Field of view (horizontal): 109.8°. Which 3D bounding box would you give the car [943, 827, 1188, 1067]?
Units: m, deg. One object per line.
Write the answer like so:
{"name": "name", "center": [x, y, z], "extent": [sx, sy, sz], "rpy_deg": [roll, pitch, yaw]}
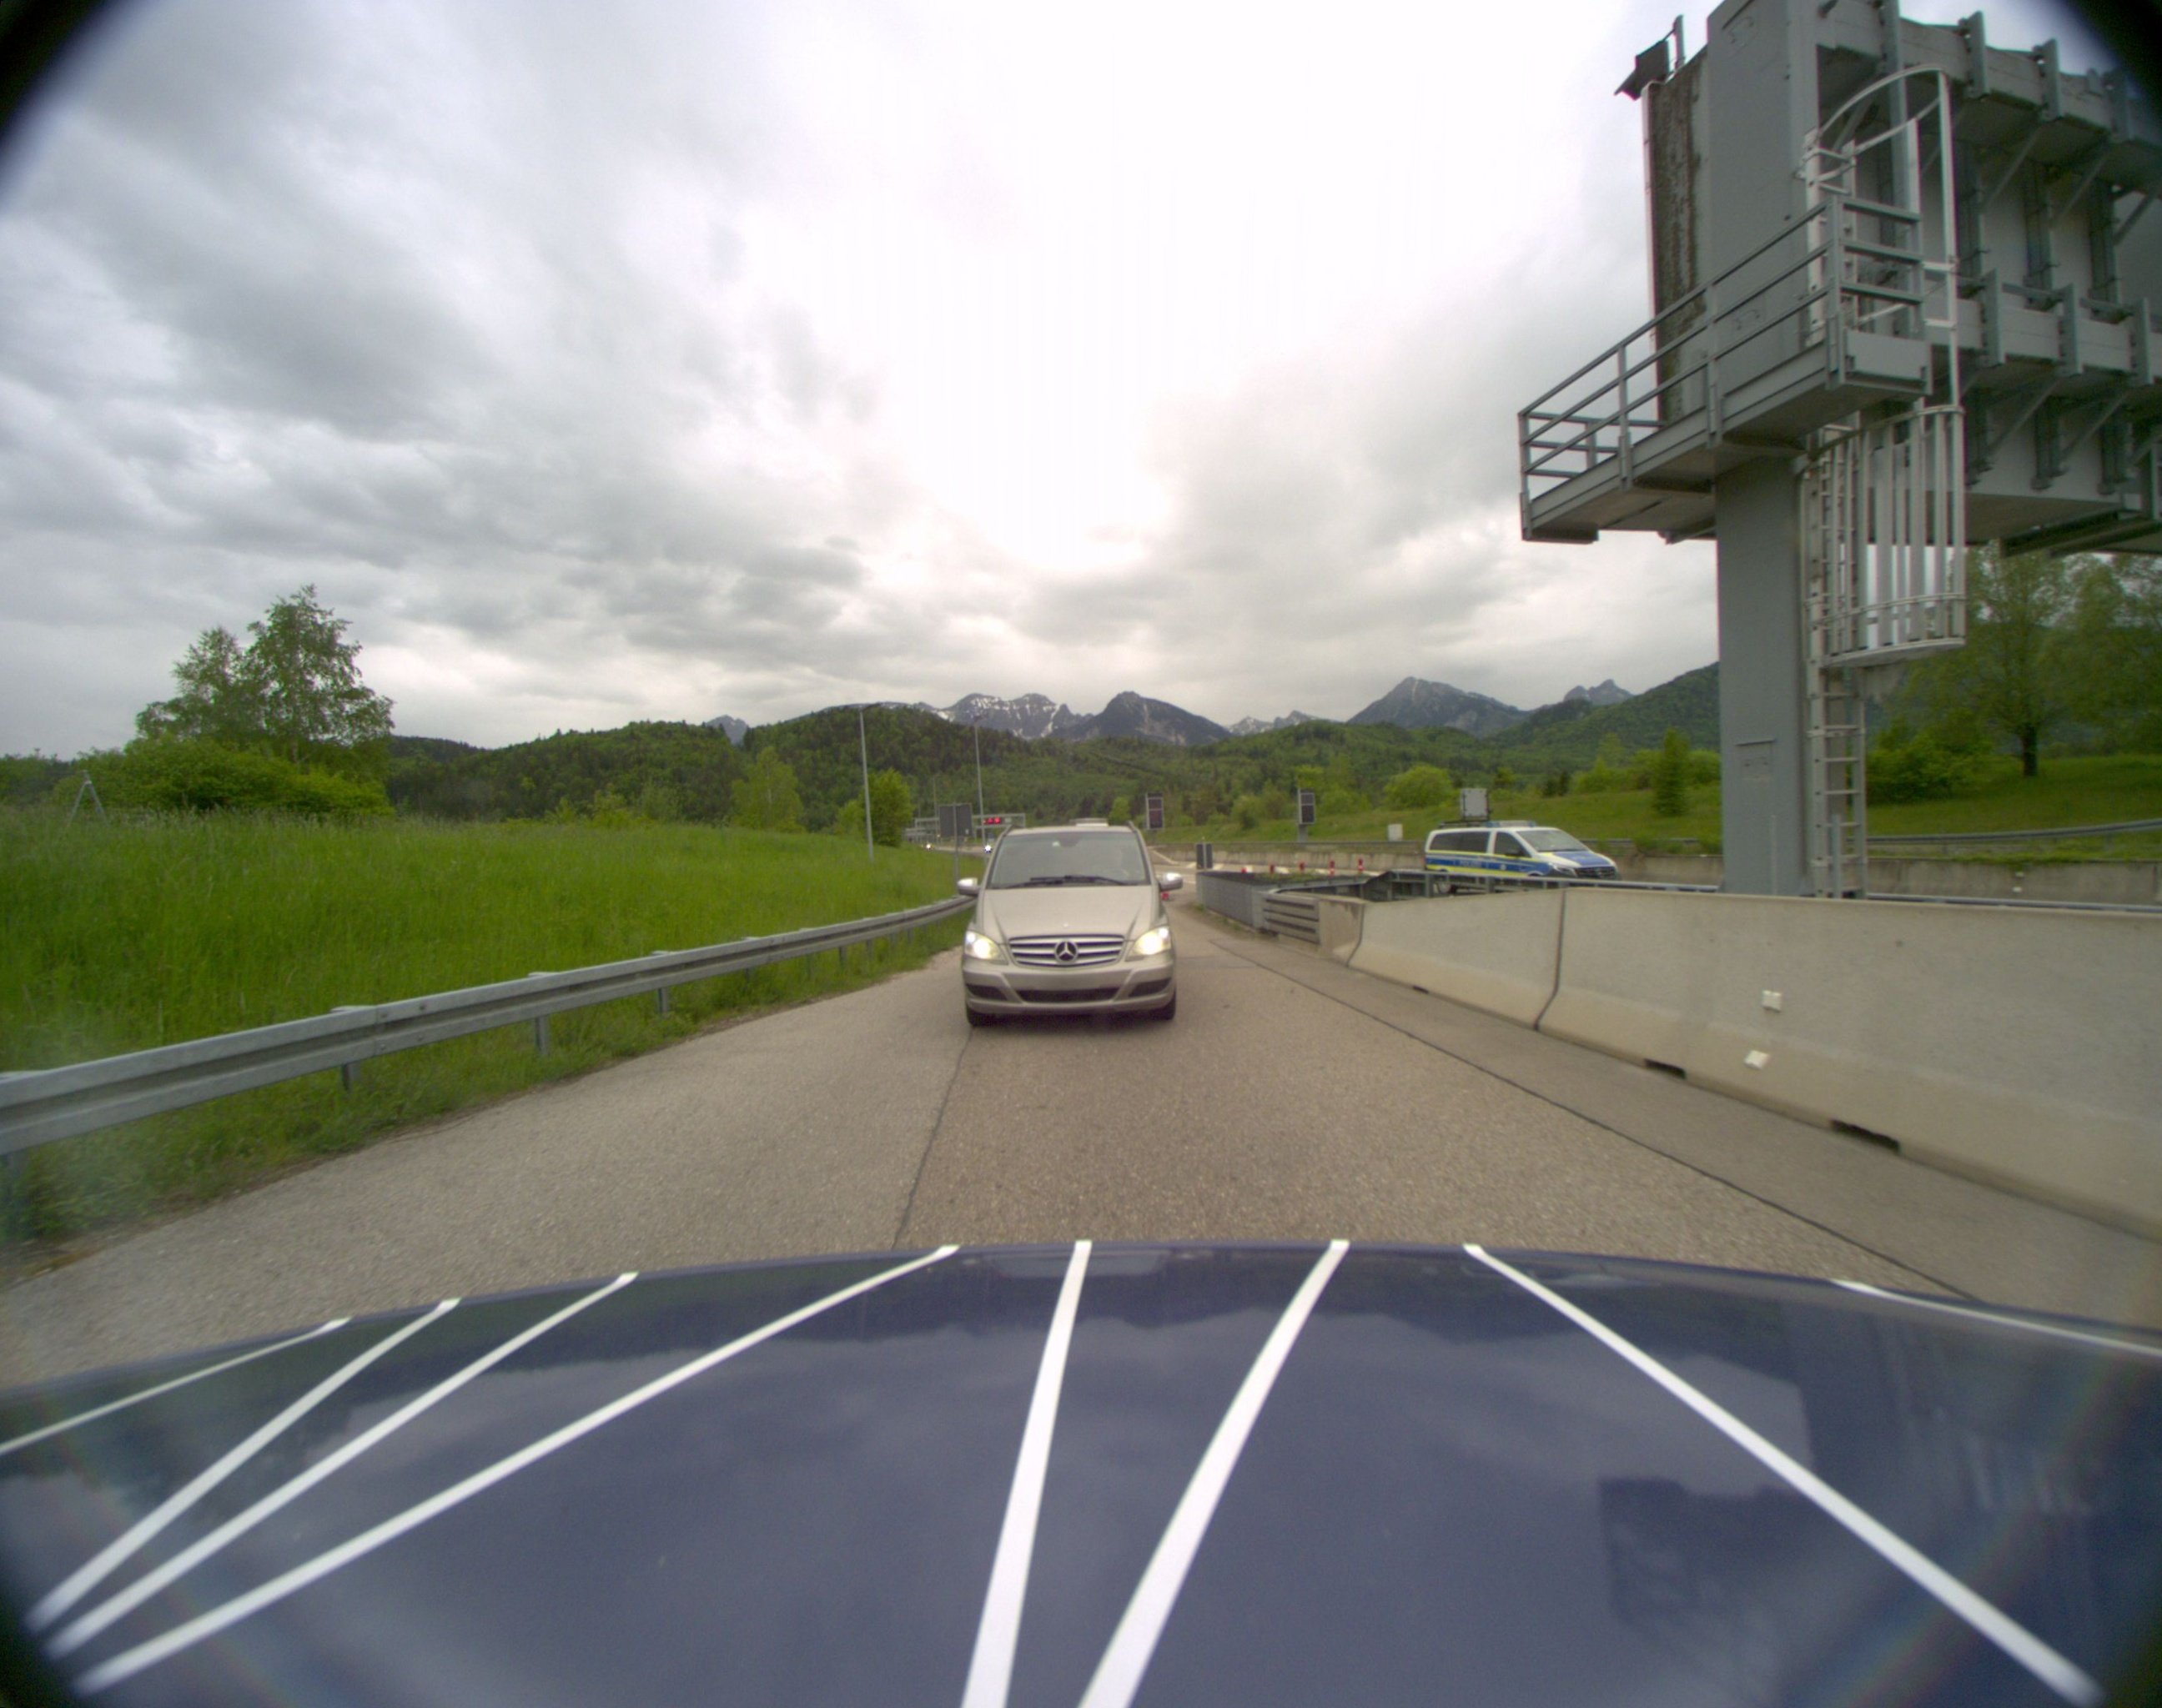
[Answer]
{"name": "car", "center": [-0.080, 0.670, 8.671], "extent": [1.862, 1.834, 5.616], "rpy_deg": [-1, 1, 1]}

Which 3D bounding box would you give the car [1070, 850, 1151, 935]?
{"name": "car", "center": [0.633, 0.761, 17.260], "extent": [1.591, 1.662, 4.000], "rpy_deg": [-1, 0, 1]}

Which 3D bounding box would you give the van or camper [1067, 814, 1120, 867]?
{"name": "van or camper", "center": [0.729, -0.916, 52.444], "extent": [2.584, 3.372, 7.349], "rpy_deg": [-2, 1, -7]}

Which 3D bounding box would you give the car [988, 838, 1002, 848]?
{"name": "car", "center": [-13.595, -1.722, 120.010], "extent": [1.722, 1.629, 4.342], "rpy_deg": [-1, 1, -13]}

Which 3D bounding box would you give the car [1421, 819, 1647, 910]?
{"name": "car", "center": [11.360, 0.193, 19.591], "extent": [2.106, 2.002, 5.045], "rpy_deg": [-2, 1, -13]}
